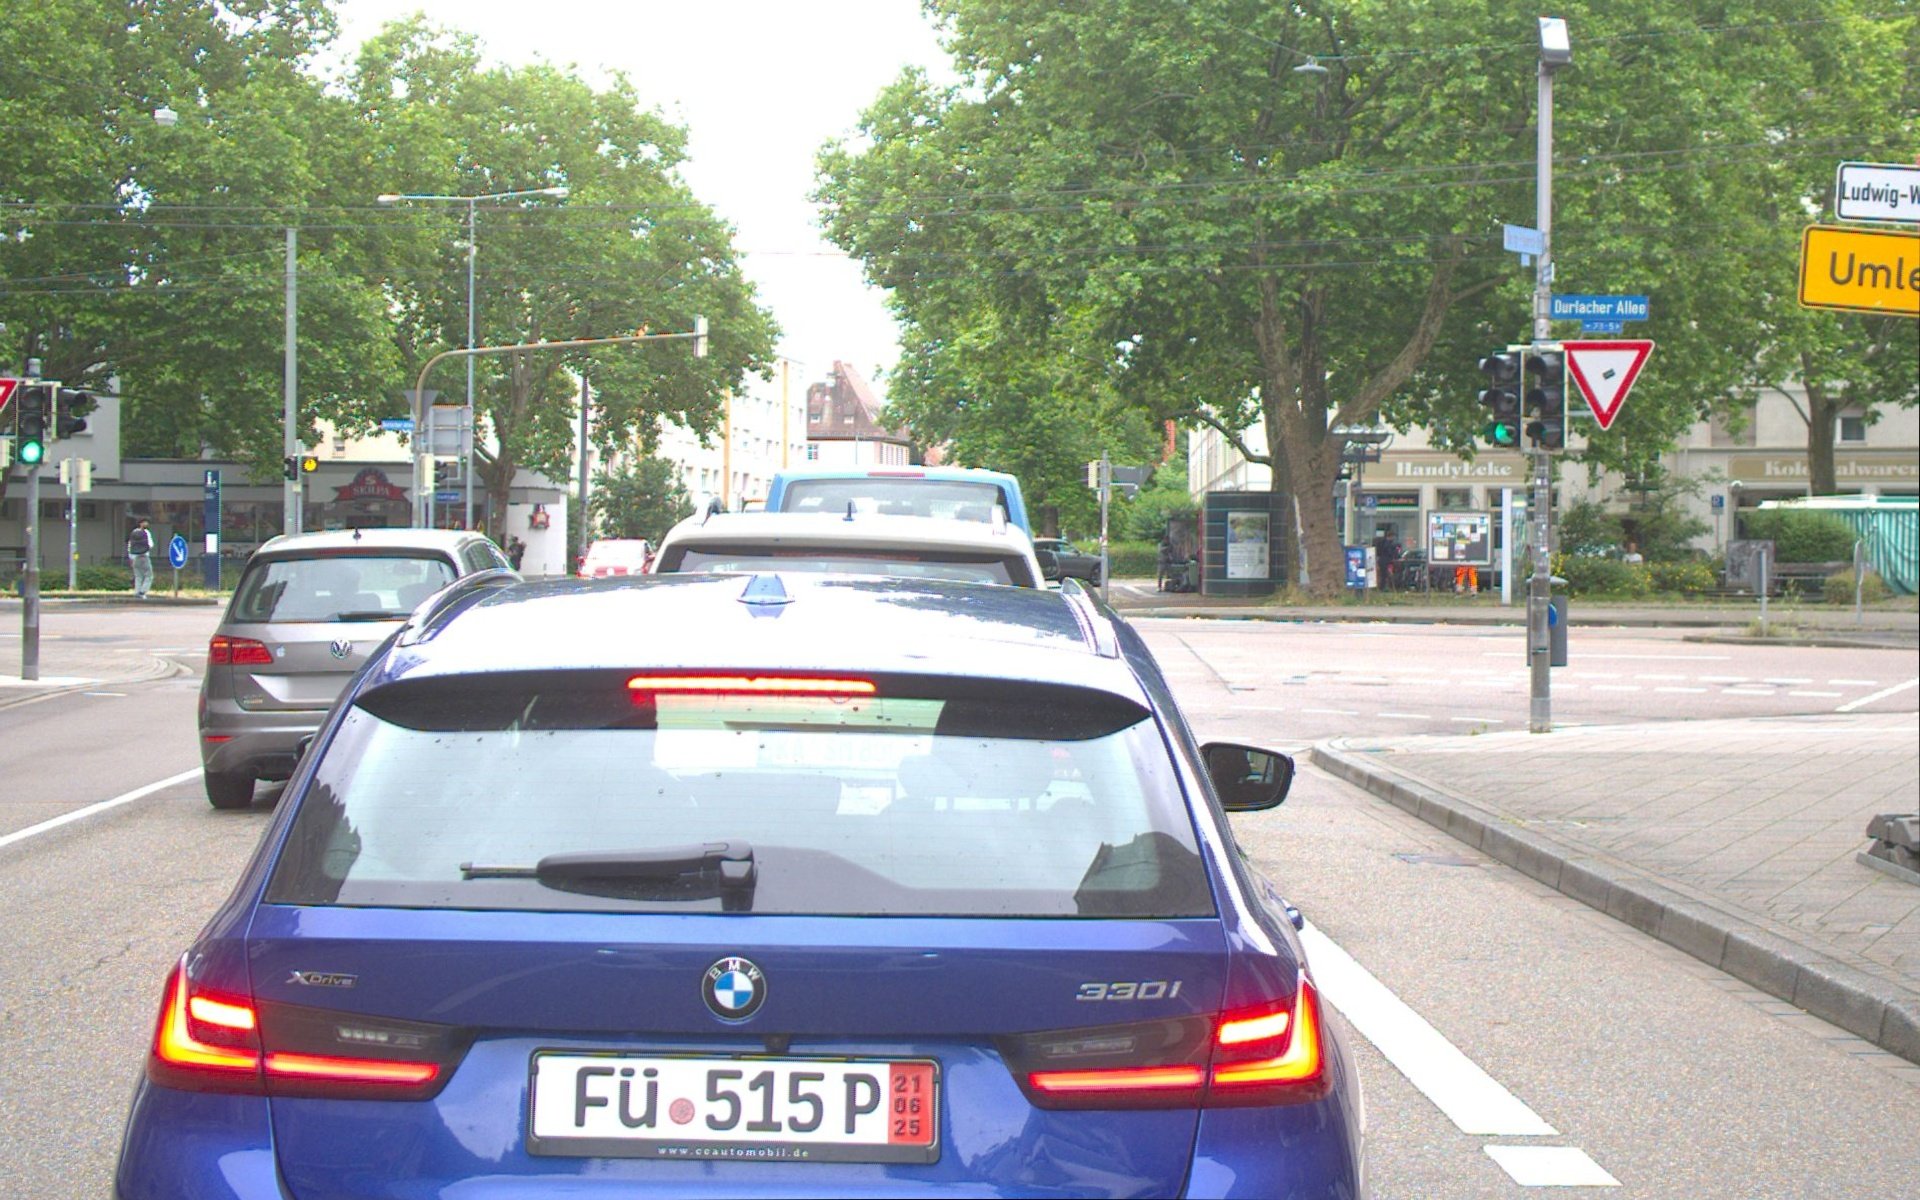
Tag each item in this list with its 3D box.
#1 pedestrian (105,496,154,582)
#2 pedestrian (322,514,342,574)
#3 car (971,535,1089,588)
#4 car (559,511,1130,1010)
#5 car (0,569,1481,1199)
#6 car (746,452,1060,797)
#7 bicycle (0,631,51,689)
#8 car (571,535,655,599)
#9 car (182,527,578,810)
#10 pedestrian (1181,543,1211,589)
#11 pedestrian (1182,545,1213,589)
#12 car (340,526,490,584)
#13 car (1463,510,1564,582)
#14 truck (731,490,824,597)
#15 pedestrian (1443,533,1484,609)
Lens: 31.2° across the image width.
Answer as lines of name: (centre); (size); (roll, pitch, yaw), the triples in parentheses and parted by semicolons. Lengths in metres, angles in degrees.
pedestrian: (-17.163, -1.258, 71.069); (0.676, 1.765, 0.724); (1, 1, 41)
pedestrian: (-18.622, -1.672, 101.969); (0.571, 1.765, 0.515); (0, 1, -13)
car: (2.335, -1.286, 114.108); (3.883, 1.735, 1.761); (0, 1, 2)
car: (-0.391, 0.469, 12.946); (1.815, 1.586, 4.000); (0, 1, -1)
car: (-0.308, 0.672, 6.298); (1.815, 1.400, 4.320); (0, 1, -1)
car: (-0.355, 0.101, 21.976); (1.815, 1.998, 4.000); (0, 1, -1)
bicycle: (-9.914, 0.509, 33.413); (1.886, 0.443, 1.029); (6, 2, -2)
car: (-8.118, -0.786, 80.579); (1.649, 1.442, 3.511); (0, 1, -1)
car: (-3.348, 0.329, 20.527); (1.732, 1.519, 4.000); (0, 1, -1)
pedestrian: (7.137, -1.024, 104.023); (0.817, 1.367, 0.763); (0, 1, 0)
pedestrian: (7.127, -0.978, 103.104); (0.853, 1.310, 0.763); (0, 1, 0)
car: (-16.503, -1.367, 104.134); (3.987, 1.700, 2.000); (0, 1, -34)
car: (17.318, -1.691, 107.408); (2.177, 2.193, 3.995); (1, 1, 24)
truck: (-4.225, -1.331, 80.180); (2.074, 2.400, 5.463); (0, 1, -2)
pedestrian: (11.638, -0.681, 79.448); (0.784, 1.737, 0.925); (0, 1, -2)
